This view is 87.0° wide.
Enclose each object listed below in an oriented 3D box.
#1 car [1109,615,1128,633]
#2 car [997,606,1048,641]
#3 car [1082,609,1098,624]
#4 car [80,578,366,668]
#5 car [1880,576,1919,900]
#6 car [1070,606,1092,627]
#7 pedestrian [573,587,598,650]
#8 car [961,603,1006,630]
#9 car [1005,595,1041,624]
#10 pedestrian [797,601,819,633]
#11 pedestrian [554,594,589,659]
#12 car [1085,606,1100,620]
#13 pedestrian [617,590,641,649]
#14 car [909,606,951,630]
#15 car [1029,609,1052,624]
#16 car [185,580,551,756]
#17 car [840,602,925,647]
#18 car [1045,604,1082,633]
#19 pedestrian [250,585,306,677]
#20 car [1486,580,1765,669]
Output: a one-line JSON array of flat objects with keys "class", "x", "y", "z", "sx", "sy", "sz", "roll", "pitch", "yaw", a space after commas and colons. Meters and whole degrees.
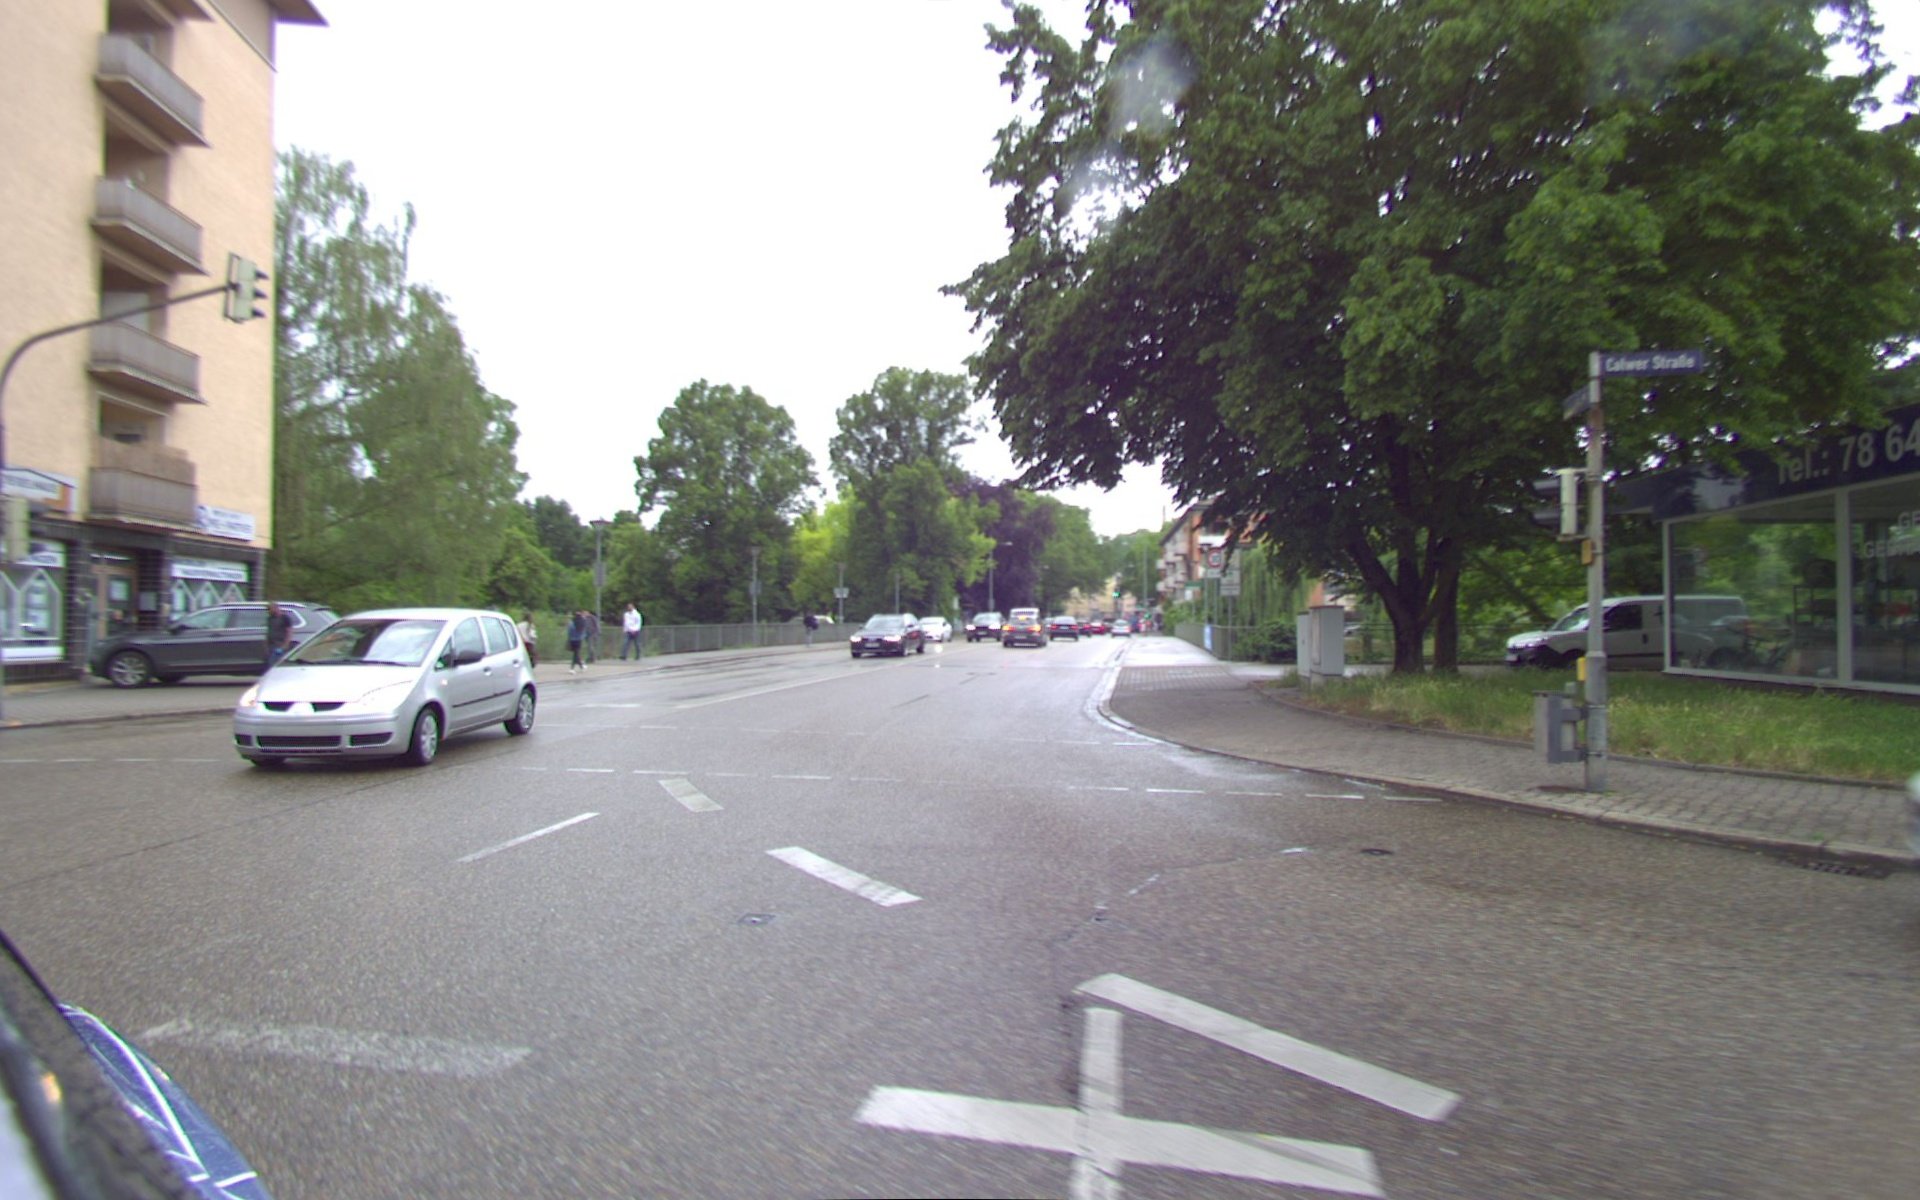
[{"class": "car", "x": 13.832, "y": 2.044, "z": 88.259, "sx": 1.664, "sy": 1.517, "sz": 3.938, "roll": 0, "pitch": -1, "yaw": 9}, {"class": "car", "x": 2.817, "y": 1.034, "z": 44.863, "sx": 1.740, "sy": 1.498, "sz": 3.992, "roll": -1, "pitch": -1, "yaw": 11}, {"class": "car", "x": 14.376, "y": 1.792, "z": 111.708, "sx": 1.739, "sy": 1.618, "sz": 3.991, "roll": 0, "pitch": -1, "yaw": 7}, {"class": "car", "x": -14.421, "y": 0.468, "z": 20.085, "sx": 4.209, "sy": 1.660, "sz": 1.765, "roll": 1, "pitch": -1, "yaw": -16}, {"class": "car", "x": 6.745, "y": 0.684, "z": 3.829, "sx": 4.452, "sy": 1.684, "sz": 1.827, "roll": -1, "pitch": -1, "yaw": 28}, {"class": "car", "x": 10.261, "y": 1.386, "z": 85.829, "sx": 1.739, "sy": 1.725, "sz": 3.991, "roll": 0, "pitch": -1, "yaw": 7}, {"class": "pedestrian", "x": -10.935, "y": 0.532, "z": 29.530, "sx": 0.551, "sy": 1.817, "sz": 0.477, "roll": 0, "pitch": -1, "yaw": -41}, {"class": "car", "x": 1.369, "y": 0.891, "z": 56.688, "sx": 1.978, "sy": 1.448, "sz": 3.987, "roll": 0, "pitch": 0, "yaw": 10}, {"class": "car", "x": 4.633, "y": 0.677, "z": 73.775, "sx": 2.193, "sy": 2.016, "sz": 4.362, "roll": 0, "pitch": 0, "yaw": 9}, {"class": "pedestrian", "x": -6.955, "y": 0.781, "z": 46.294, "sx": 0.782, "sy": 1.485, "sz": 0.703, "roll": -1, "pitch": -1, "yaw": 13}, {"class": "pedestrian", "x": -10.066, "y": 0.680, "z": 26.211, "sx": 0.691, "sy": 1.659, "sz": 0.661, "roll": 0, "pitch": -1, "yaw": -38}, {"class": "car", "x": 16.087, "y": 1.572, "z": 123.028, "sx": 1.739, "sy": 1.618, "sz": 3.991, "roll": 0, "pitch": -1, "yaw": 7}, {"class": "pedestrian", "x": -10.338, "y": 0.594, "z": 31.625, "sx": 0.496, "sy": 1.817, "sz": 0.503, "roll": -1, "pitch": -1, "yaw": 35}, {"class": "car", "x": -1.661, "y": 0.994, "z": 57.087, "sx": 1.635, "sy": 1.319, "sz": 3.987, "roll": 0, "pitch": 0, "yaw": 10}, {"class": "car", "x": 7.606, "y": 1.554, "z": 95.312, "sx": 1.731, "sy": 1.319, "sz": 3.987, "roll": 0, "pitch": 0, "yaw": 10}, {"class": "car", "x": -6.081, "y": 0.587, "z": 11.021, "sx": 1.728, "sy": 1.530, "sz": 4.002, "roll": -1, "pitch": 0, "yaw": -2}, {"class": "car", "x": -2.609, "y": 0.829, "z": 35.335, "sx": 1.977, "sy": 1.474, "sz": 4.493, "roll": 0, "pitch": 0, "yaw": 9}, {"class": "car", "x": 6.156, "y": 1.097, "z": 60.056, "sx": 1.812, "sy": 1.601, "sz": 4.309, "roll": -1, "pitch": -1, "yaw": 11}, {"class": "pedestrian", "x": -12.529, "y": 0.563, "z": 18.599, "sx": 0.612, "sy": 1.651, "sz": 0.579, "roll": -1, "pitch": -1, "yaw": 15}, {"class": "car", "x": 14.425, "y": 0.535, "z": 22.190, "sx": 4.683, "sy": 1.844, "sz": 1.980, "roll": 0, "pitch": -1, "yaw": 4}]
